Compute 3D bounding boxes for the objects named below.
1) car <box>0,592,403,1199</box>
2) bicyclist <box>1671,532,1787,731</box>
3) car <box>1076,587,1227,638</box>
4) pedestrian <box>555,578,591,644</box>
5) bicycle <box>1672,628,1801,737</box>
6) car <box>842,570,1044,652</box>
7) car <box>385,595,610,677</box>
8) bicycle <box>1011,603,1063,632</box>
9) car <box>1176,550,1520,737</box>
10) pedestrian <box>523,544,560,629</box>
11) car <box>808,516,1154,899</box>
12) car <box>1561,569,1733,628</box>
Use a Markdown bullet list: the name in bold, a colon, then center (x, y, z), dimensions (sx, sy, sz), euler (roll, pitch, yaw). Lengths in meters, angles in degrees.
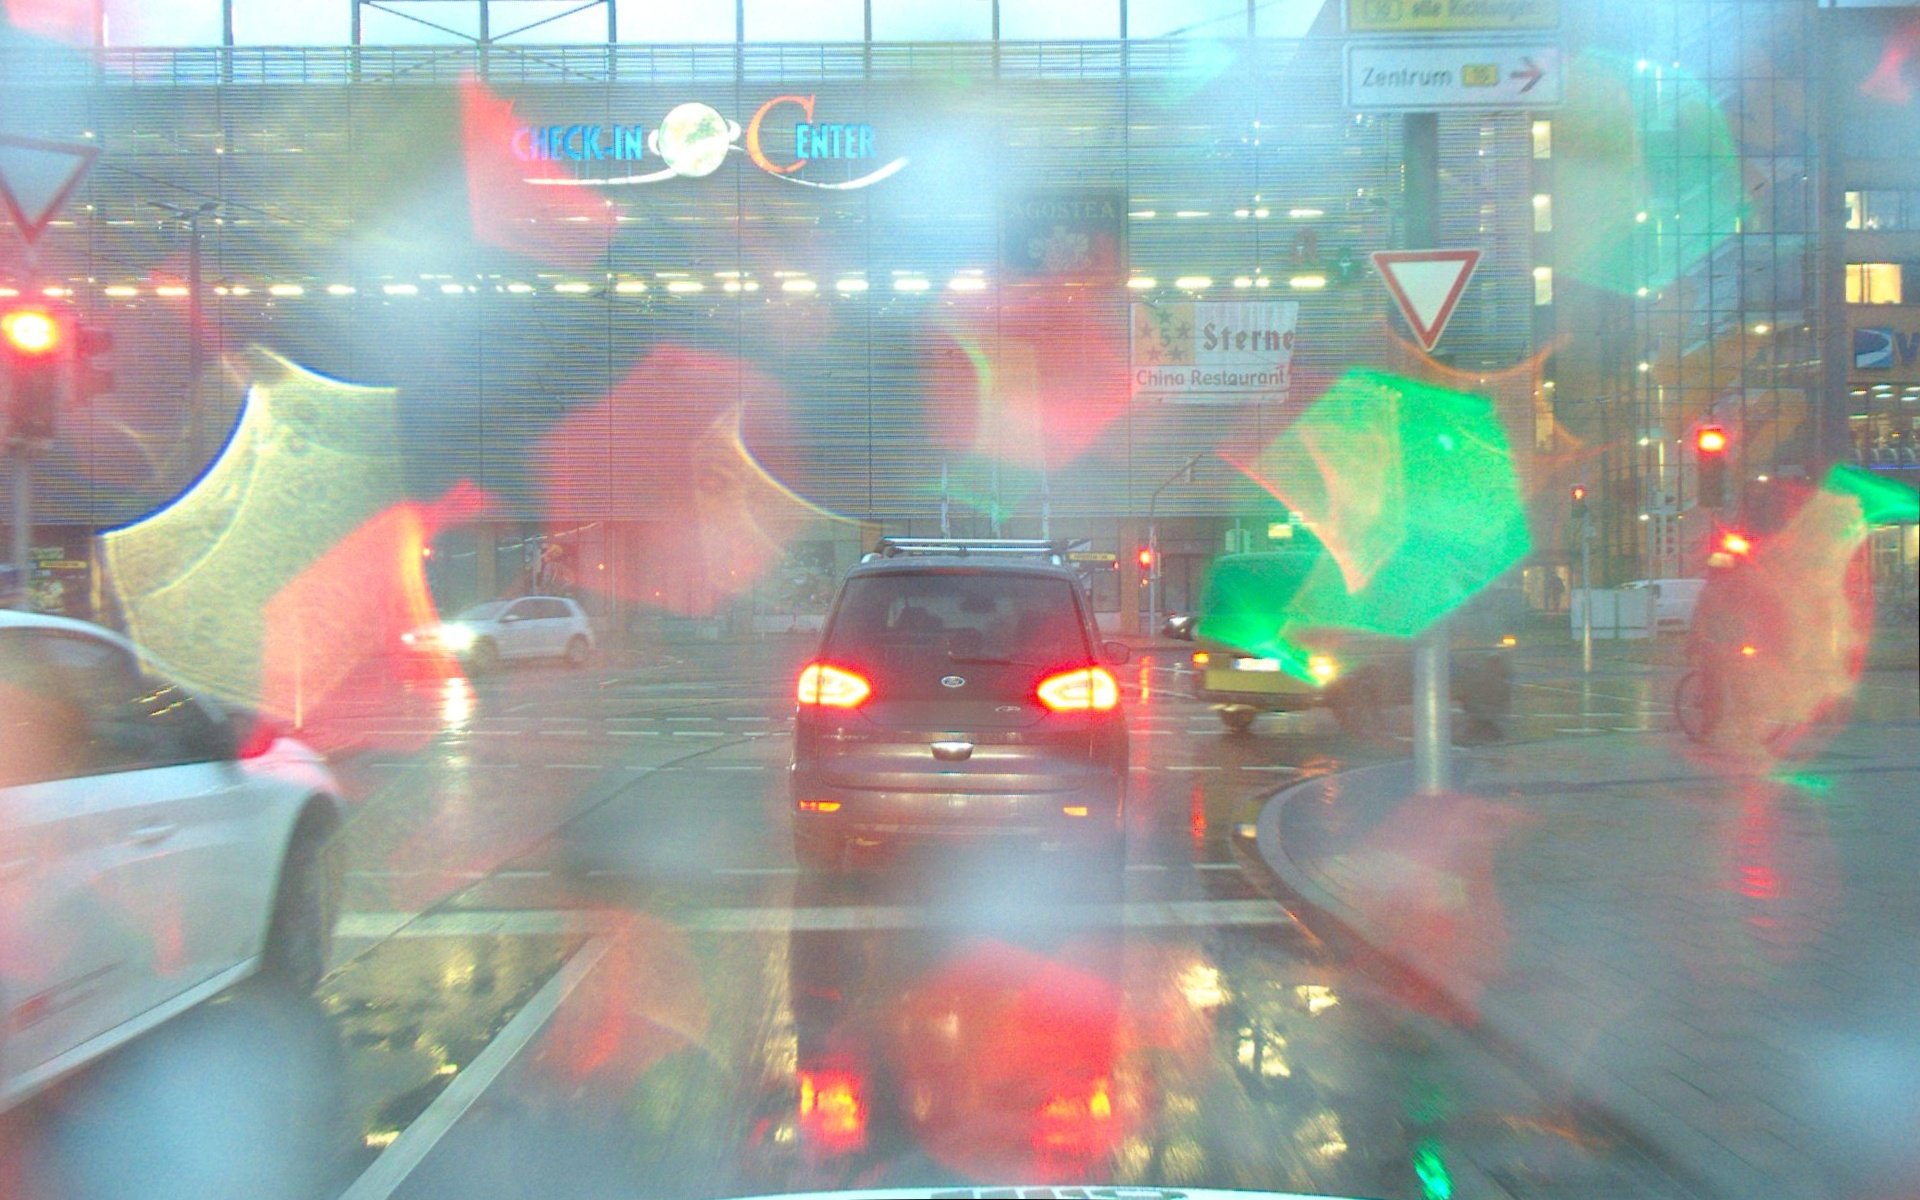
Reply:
- **car**: center (-3.009, 0.728, 4.654), dimensions (1.723, 1.489, 3.915), euler (0, 0, -3)
- **bicyclist**: center (7.682, 0.311, 16.557), dimensions (0.774, 1.923, 0.990), euler (-1, 0, 8)
- **car**: center (5.847, 0.372, 50.585), dimensions (4.327, 1.470, 1.626), euler (-1, 0, -9)
- **pedestrian**: center (-14.919, 0.427, 63.820), dimensions (1.087, 2.482, 0.966), euler (1, -1, 2)
- **bicycle**: center (7.761, 0.800, 16.611), dimensions (0.641, 0.990, 1.868), euler (-1, 0, 8)
- **car**: center (-0.405, 0.268, 45.260), dimensions (5.608, 2.095, 1.925), euler (-1, 0, -40)
- **car**: center (-9.250, 0.681, 33.400), dimensions (1.826, 1.512, 4.332), euler (-1, 0, 31)
- **bicycle**: center (3.035, 0.690, 65.272), dimensions (2.041, 1.141, 0.477), euler (1, -1, 0)
- **car**: center (4.446, 0.414, 18.499), dimensions (1.817, 1.837, 4.459), euler (-1, 0, 42)
- **pedestrian**: center (-14.769, -0.458, 58.421), dimensions (0.943, 2.976, 1.114), euler (1, -1, 2)
- **car**: center (0.243, 0.515, 10.012), dimensions (1.639, 1.811, 4.002), euler (1, 0, 4)
- **car**: center (21.187, -0.040, 51.124), dimensions (4.501, 1.749, 1.929), euler (-1, 0, -1)
